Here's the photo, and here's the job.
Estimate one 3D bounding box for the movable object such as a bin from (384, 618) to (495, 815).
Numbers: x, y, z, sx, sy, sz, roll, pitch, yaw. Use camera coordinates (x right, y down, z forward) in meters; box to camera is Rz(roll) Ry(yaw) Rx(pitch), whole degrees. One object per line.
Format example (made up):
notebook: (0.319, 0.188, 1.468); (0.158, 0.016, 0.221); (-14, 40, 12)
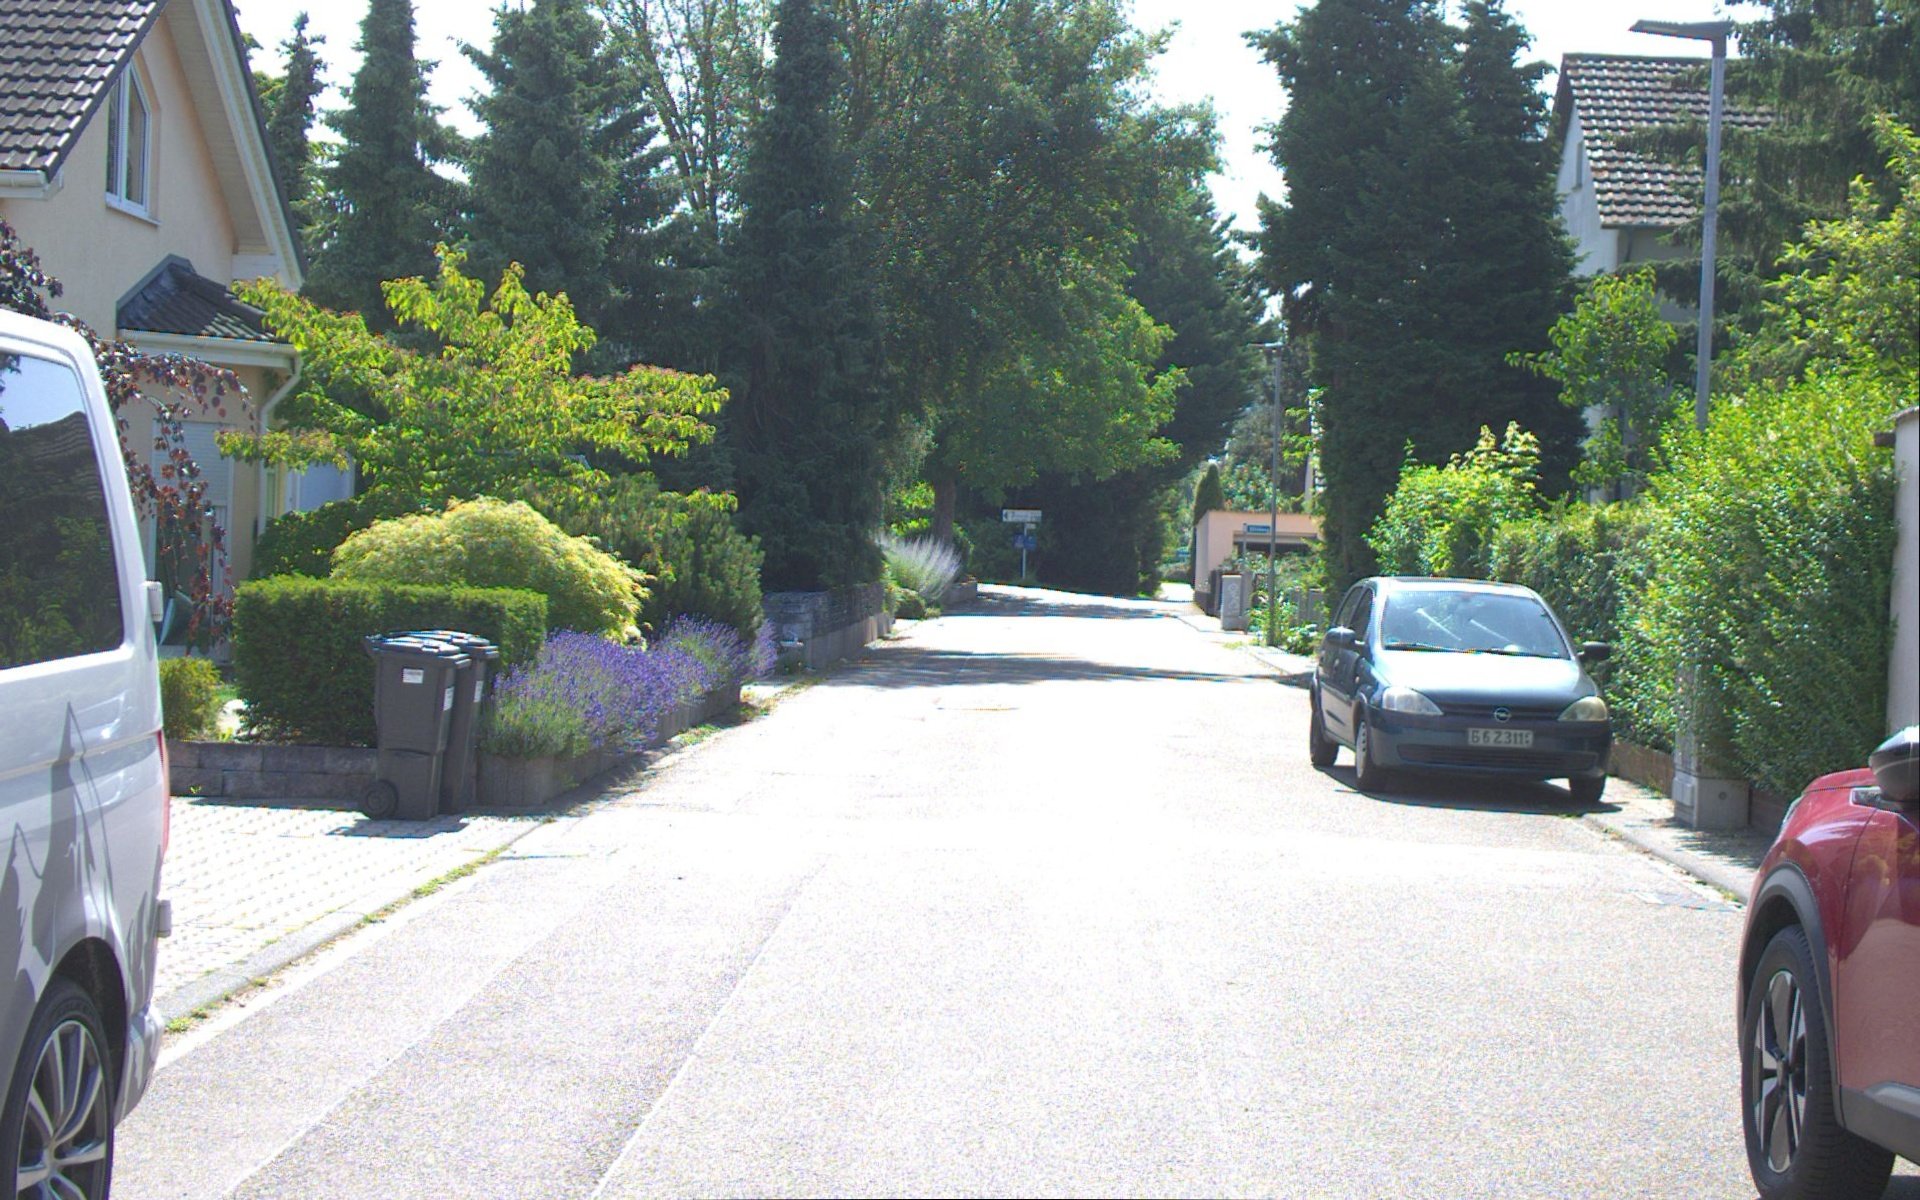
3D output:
movable object such as a bin: (-2.785, 0.620, 18.422); (0.494, 1.021, 0.447); (1, 1, 2)

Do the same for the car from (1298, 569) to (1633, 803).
car: (3.419, 0.529, 23.914); (1.702, 1.395, 4.000); (3, 1, 0)

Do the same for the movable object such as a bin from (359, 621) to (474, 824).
movable object such as a bin: (-2.837, 0.634, 17.961); (0.494, 1.021, 0.447); (1, 1, 2)

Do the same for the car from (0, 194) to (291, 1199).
car: (-2.535, 0.341, 4.830); (1.929, 2.007, 4.895); (2, 1, 3)

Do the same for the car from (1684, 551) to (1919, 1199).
car: (2.812, 0.754, 6.693); (1.822, 1.610, 4.000); (3, 1, -1)
